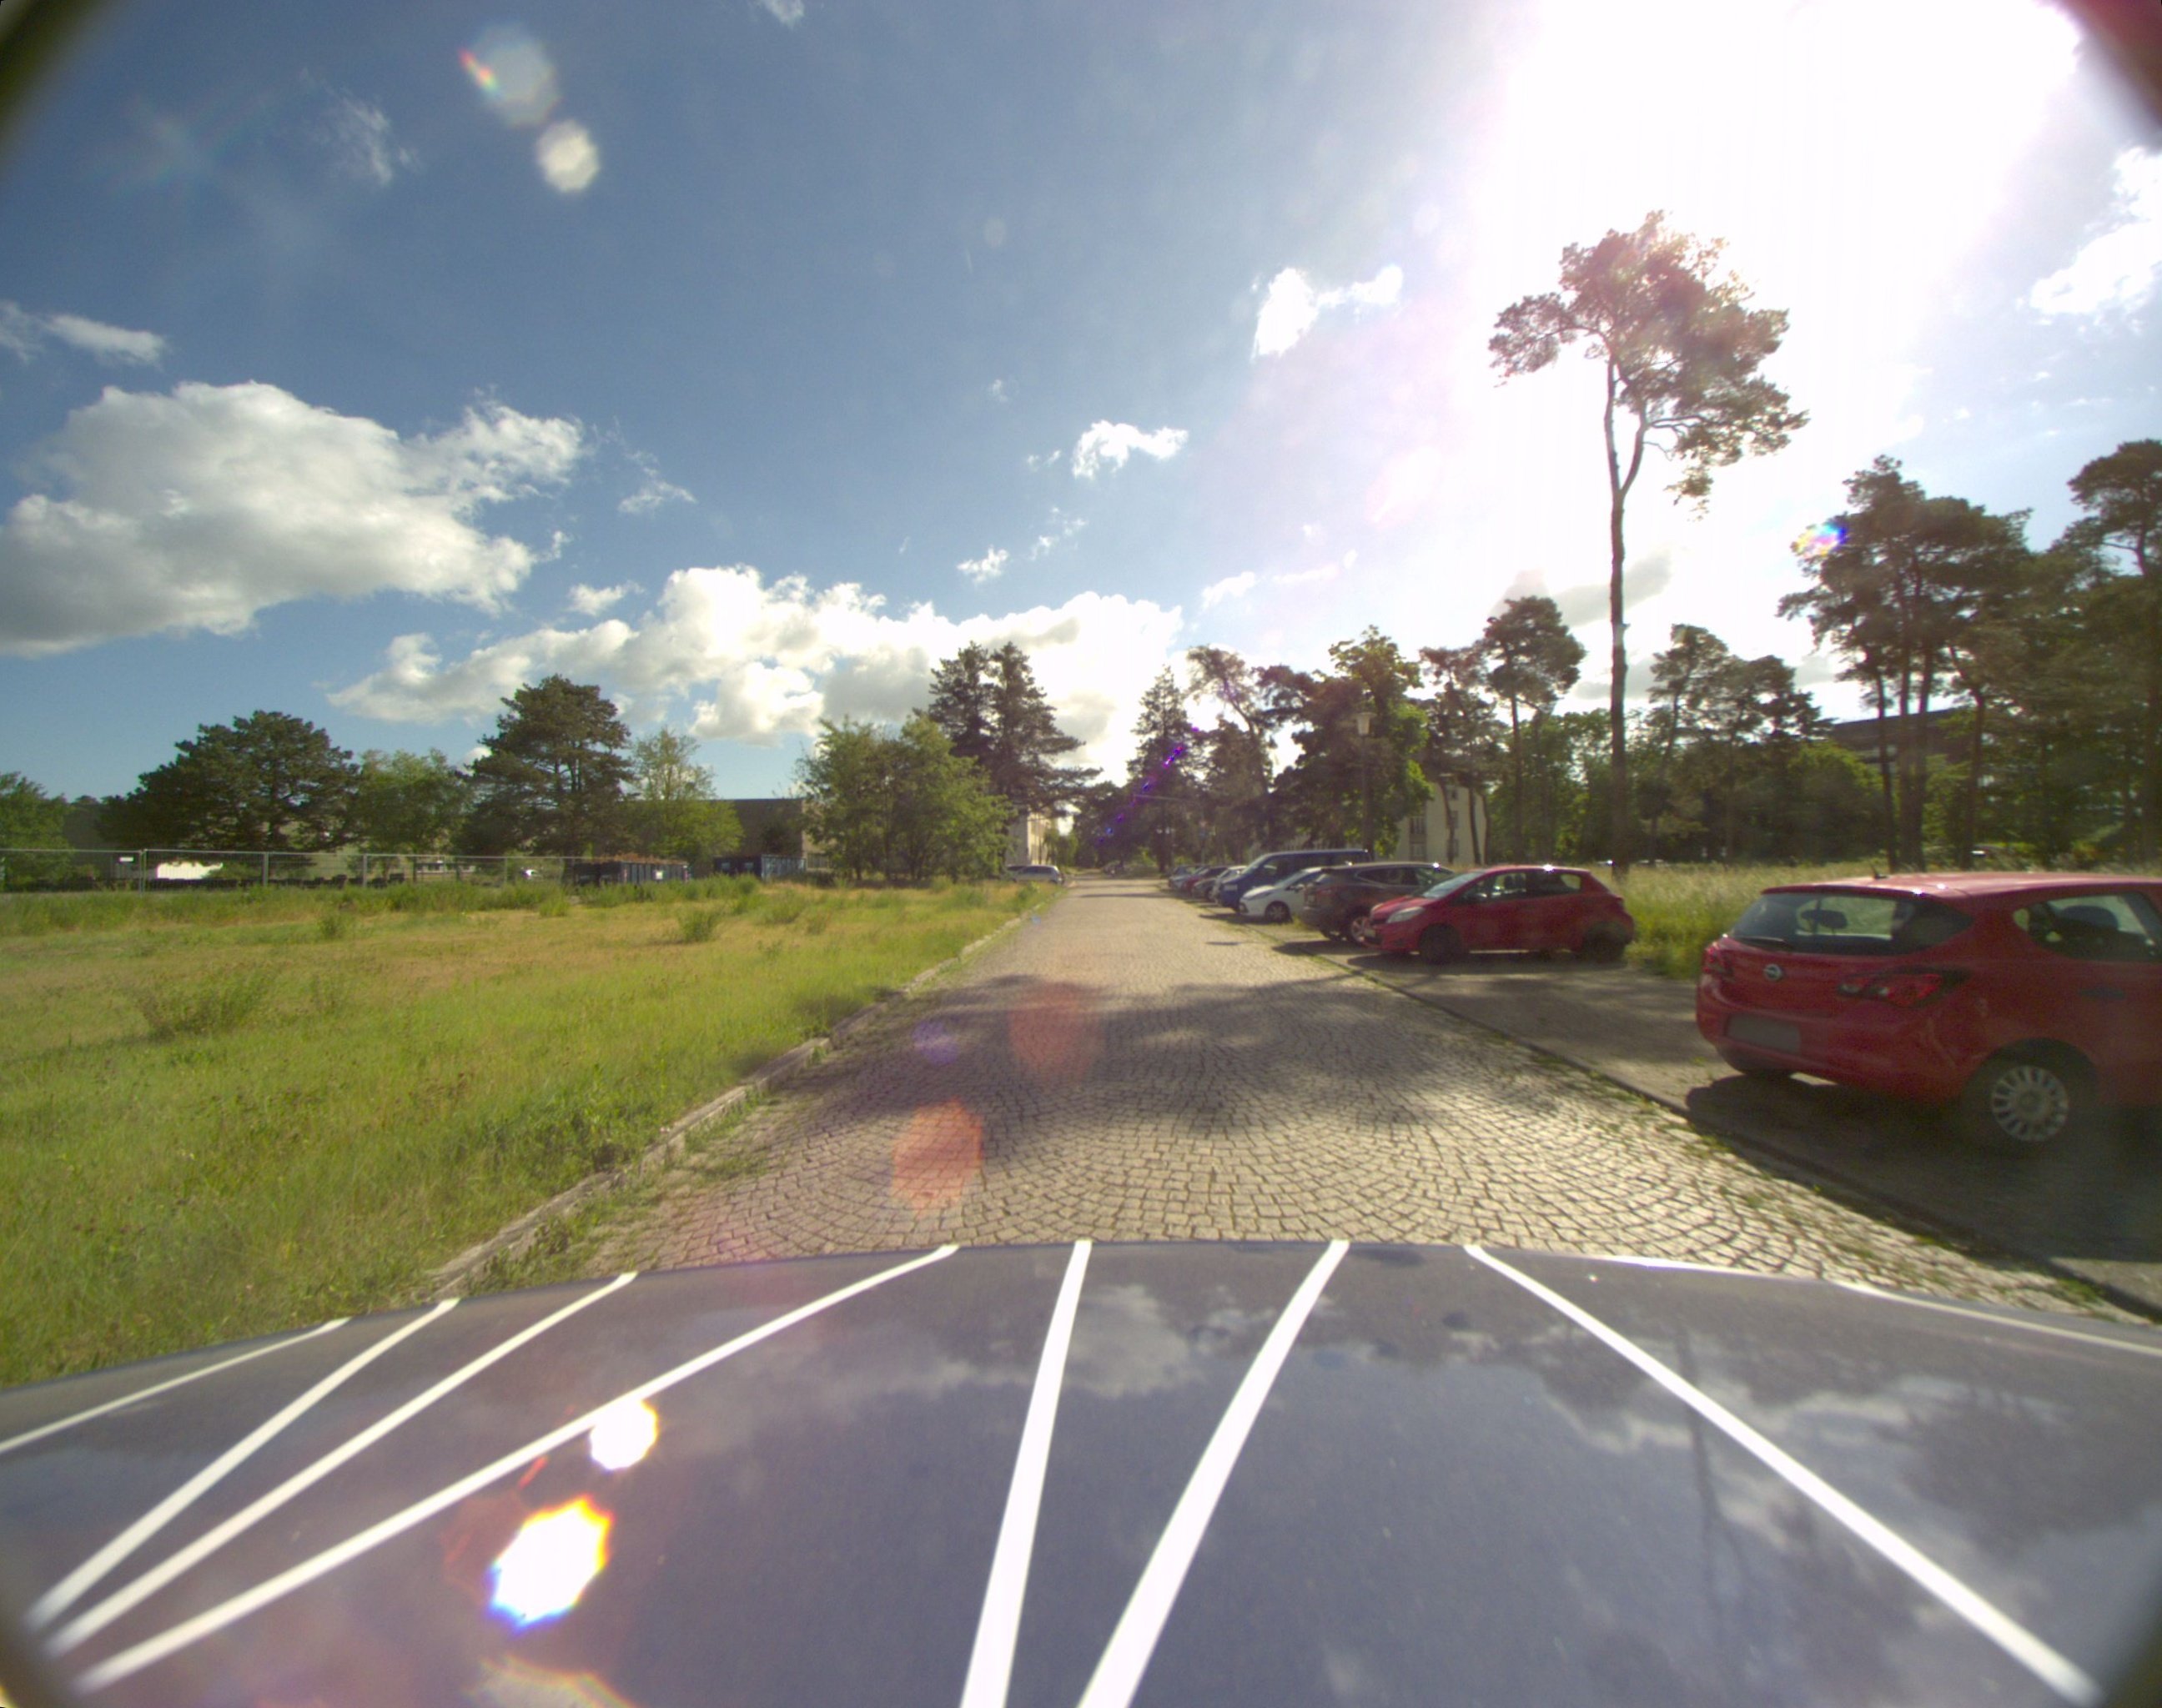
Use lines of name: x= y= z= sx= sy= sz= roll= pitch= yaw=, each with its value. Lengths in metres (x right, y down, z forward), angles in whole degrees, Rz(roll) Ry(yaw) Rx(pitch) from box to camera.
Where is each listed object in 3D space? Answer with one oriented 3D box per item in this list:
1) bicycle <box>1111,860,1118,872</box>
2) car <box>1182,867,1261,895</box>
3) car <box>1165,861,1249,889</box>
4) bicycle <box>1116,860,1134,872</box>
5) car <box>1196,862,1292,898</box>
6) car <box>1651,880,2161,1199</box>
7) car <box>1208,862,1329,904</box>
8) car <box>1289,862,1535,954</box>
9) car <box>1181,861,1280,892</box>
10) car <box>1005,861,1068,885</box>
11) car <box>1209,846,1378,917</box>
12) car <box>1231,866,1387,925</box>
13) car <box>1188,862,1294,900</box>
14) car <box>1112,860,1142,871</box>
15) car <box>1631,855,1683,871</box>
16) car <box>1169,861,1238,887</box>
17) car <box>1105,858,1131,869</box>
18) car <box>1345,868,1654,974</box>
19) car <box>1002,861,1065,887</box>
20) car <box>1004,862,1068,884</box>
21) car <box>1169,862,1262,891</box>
bicycle: x=4.070 y=1.463 z=93.266 sx=0.621 sy=1.342 sz=2.114 roll=-2 pitch=0 yaw=-3
car: x=6.919 y=1.332 z=37.713 sx=3.639 sy=1.227 sz=1.760 roll=-2 pitch=1 yaw=3
car: x=7.396 y=1.212 z=45.076 sx=4.593 sy=1.443 sz=1.984 roll=-2 pitch=0 yaw=-2
bicycle: x=5.610 y=1.513 z=96.567 sx=2.113 sy=1.276 sz=0.621 roll=-6 pitch=0 yaw=-1
car: x=7.442 y=1.173 z=35.024 sx=4.086 sy=1.444 sz=1.822 roll=-2 pitch=1 yaw=3
car: x=6.214 y=0.958 z=4.715 sx=3.933 sy=1.452 sz=1.842 roll=-2 pitch=-1 yaw=0
car: x=7.152 y=1.094 z=29.261 sx=4.206 sy=1.466 sz=1.824 roll=-2 pitch=0 yaw=2
car: x=6.384 y=1.018 z=15.043 sx=3.963 sy=1.558 sz=1.974 roll=-2 pitch=-1 yaw=0
car: x=7.809 y=1.181 z=39.996 sx=4.876 sy=1.412 sz=1.939 roll=-2 pitch=0 yaw=2
car: x=-2.883 y=1.233 z=49.859 sx=4.014 sy=1.432 sz=1.844 roll=2 pitch=0 yaw=0
car: x=6.587 y=0.835 z=23.956 sx=4.729 sy=1.956 sz=2.005 roll=-2 pitch=0 yaw=2
car: x=6.338 y=1.143 z=21.384 sx=3.826 sy=1.431 sz=1.683 roll=-2 pitch=0 yaw=-1
car: x=6.704 y=1.121 z=32.159 sx=4.086 sy=1.417 sz=1.923 roll=-2 pitch=0 yaw=3
car: x=6.741 y=1.675 z=111.398 sx=4.044 sy=1.514 sz=1.817 roll=0 pitch=0 yaw=-6
car: x=61.089 y=0.932 z=80.686 sx=4.055 sy=1.620 sz=1.841 roll=0 pitch=0 yaw=4
car: x=7.641 y=1.256 z=47.689 sx=4.037 sy=1.474 sz=1.949 roll=-2 pitch=-1 yaw=0
car: x=6.299 y=1.632 z=128.775 sx=4.226 sy=1.903 sz=1.817 roll=0 pitch=0 yaw=-8
car: x=6.590 y=1.021 z=12.304 sx=3.933 sy=1.440 sz=1.867 roll=-2 pitch=-1 yaw=0
car: x=-2.890 y=1.225 z=47.114 sx=3.750 sy=1.468 sz=1.752 roll=2 pitch=0 yaw=0
car: x=-3.245 y=1.364 z=55.107 sx=4.524 sy=1.456 sz=1.838 roll=2 pitch=0 yaw=-1
car: x=7.449 y=1.223 z=42.353 sx=4.876 sy=1.413 sz=1.938 roll=-2 pitch=1 yaw=2
